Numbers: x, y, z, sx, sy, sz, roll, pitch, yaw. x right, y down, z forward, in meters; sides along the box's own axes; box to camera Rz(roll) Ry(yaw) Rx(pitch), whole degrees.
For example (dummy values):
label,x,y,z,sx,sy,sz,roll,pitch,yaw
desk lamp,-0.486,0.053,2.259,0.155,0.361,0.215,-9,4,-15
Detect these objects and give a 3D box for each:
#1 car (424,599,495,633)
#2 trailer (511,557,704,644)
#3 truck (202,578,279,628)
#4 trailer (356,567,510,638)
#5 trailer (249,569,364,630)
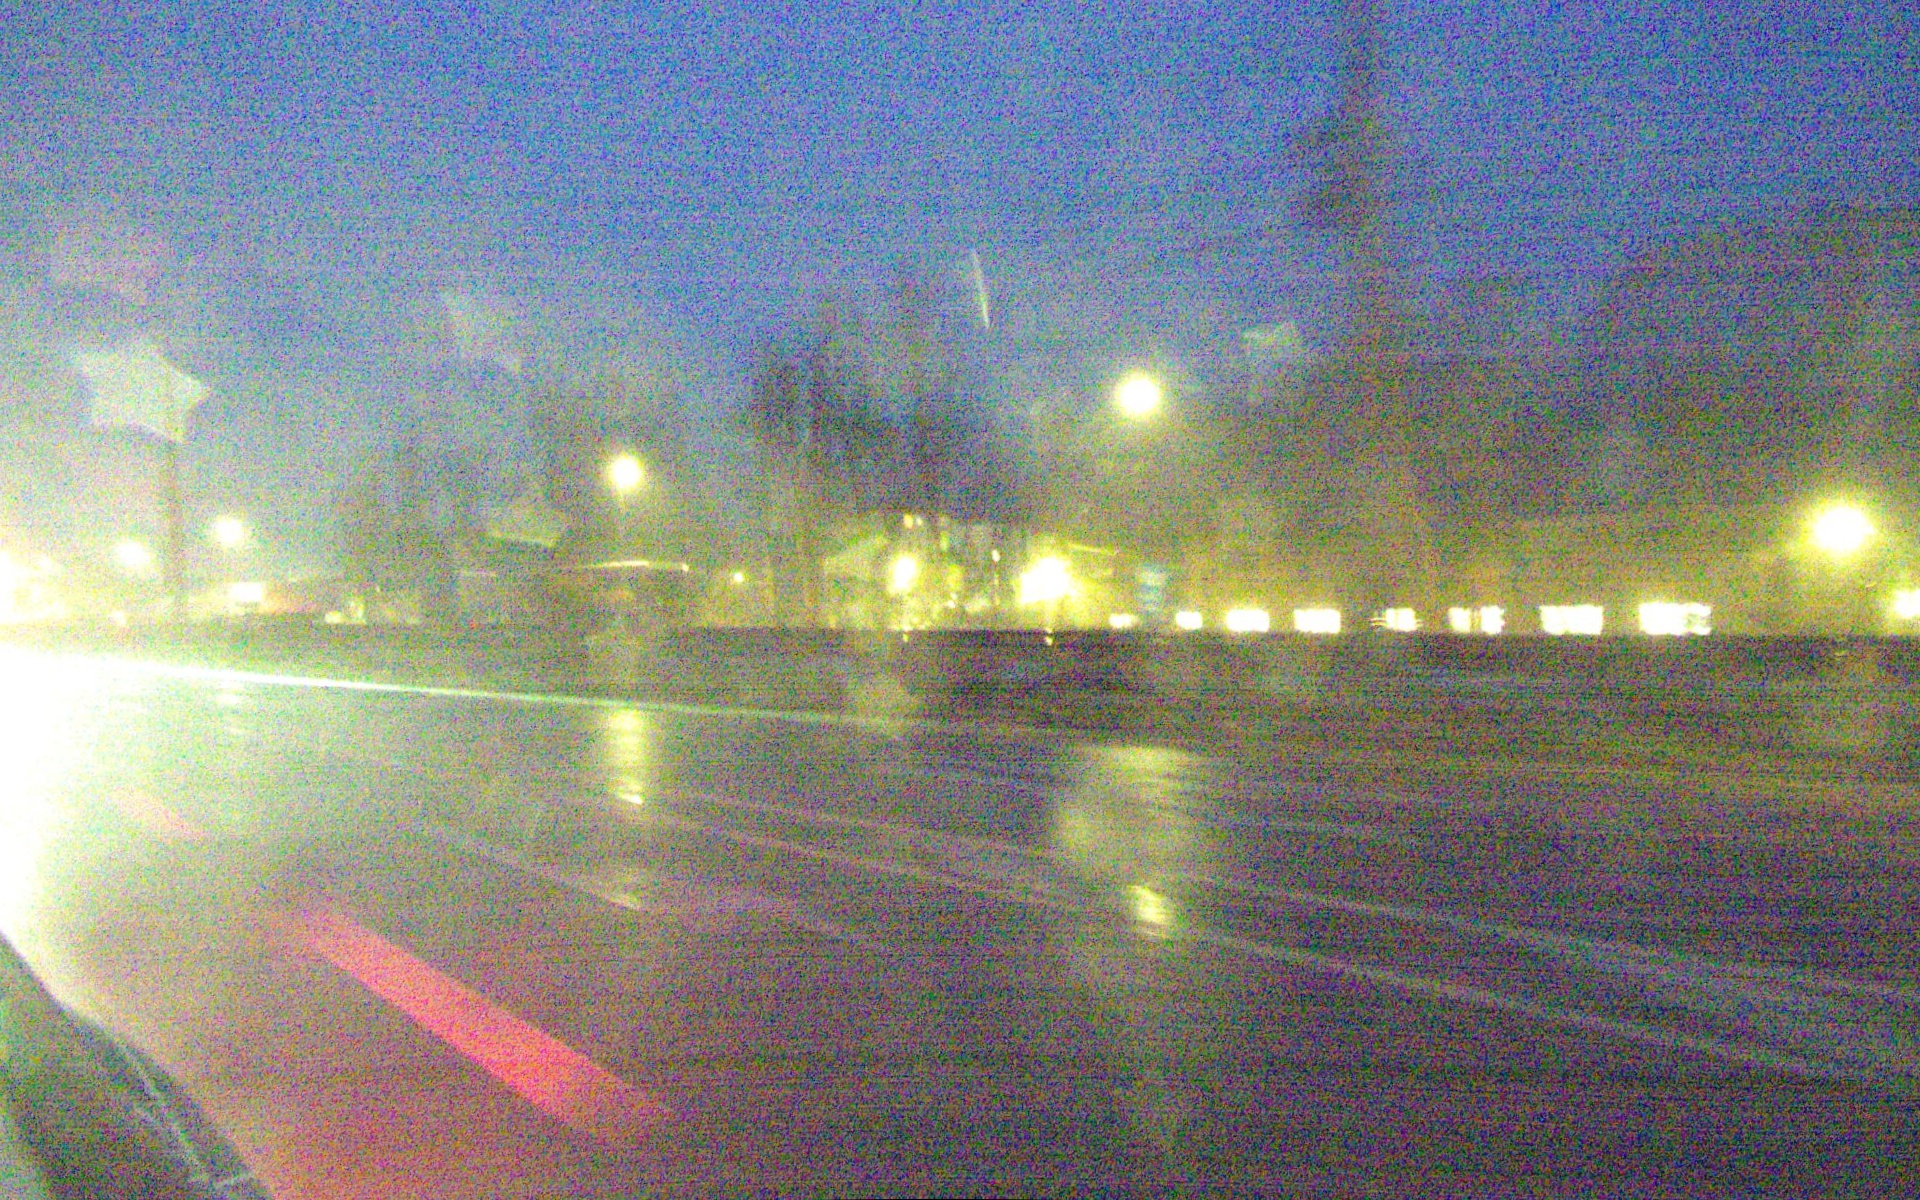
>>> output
label,x,y,z,sx,sy,sz,roll,pitch,yaw
car,-27.611,0.869,55.762,4.212,1.706,1.770,-2,1,37
trailer,-21.854,-0.022,61.941,14.230,4.643,3.934,0,4,38
truck,-72.917,0.273,102.434,10.200,4.643,3.407,0,4,38
trailer,-39.395,0.159,75.203,15.495,4.643,3.934,0,4,38
trailer,-59.466,-0.062,91.869,14.817,5.049,3.934,0,4,38
